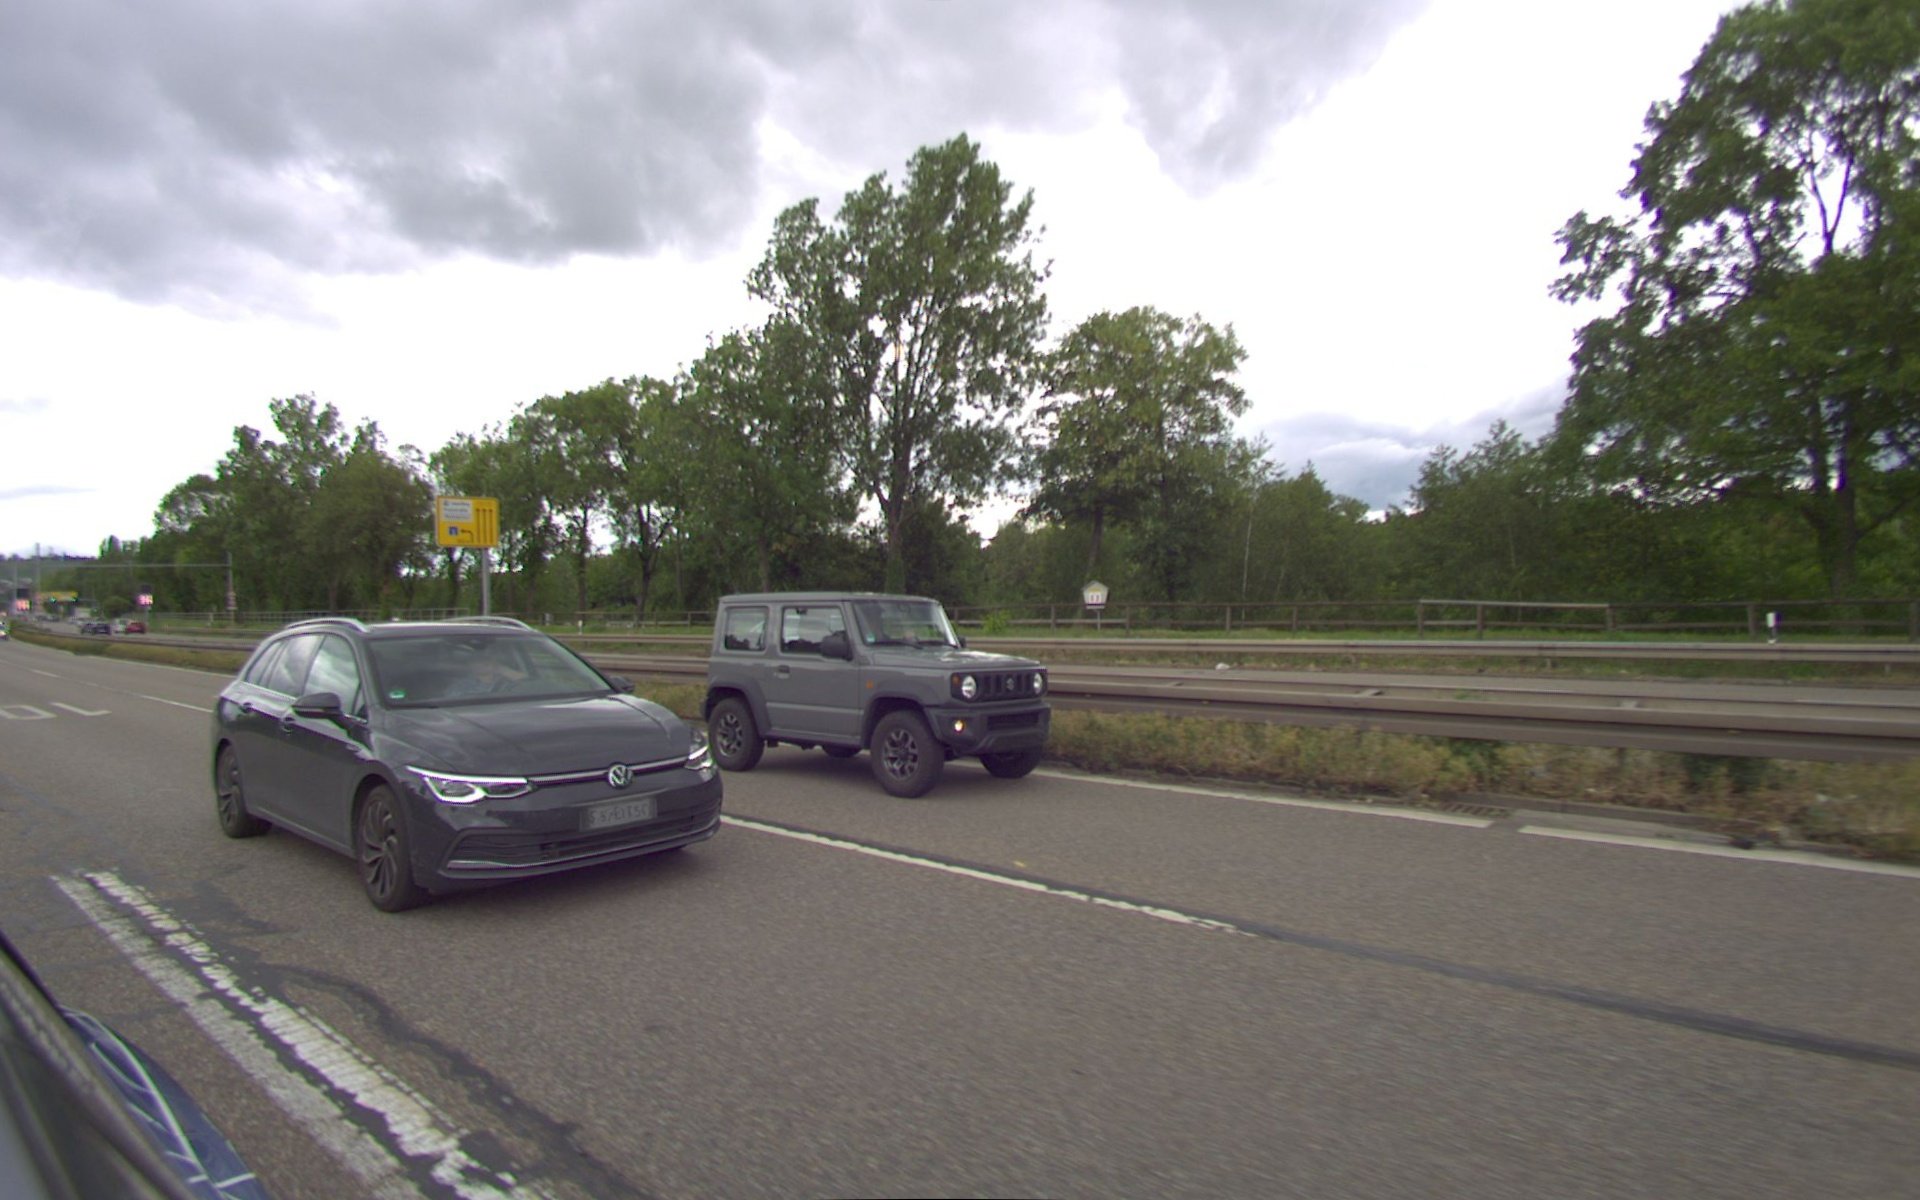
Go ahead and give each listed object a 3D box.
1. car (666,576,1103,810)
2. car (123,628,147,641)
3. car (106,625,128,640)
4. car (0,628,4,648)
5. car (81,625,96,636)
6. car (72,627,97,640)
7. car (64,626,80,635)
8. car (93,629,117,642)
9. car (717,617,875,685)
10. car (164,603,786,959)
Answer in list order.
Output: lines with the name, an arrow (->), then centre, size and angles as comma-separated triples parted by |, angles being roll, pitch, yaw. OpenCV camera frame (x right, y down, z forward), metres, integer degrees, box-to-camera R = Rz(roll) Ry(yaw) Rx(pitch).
car -> -0.835, 0.746, 9.315 | 3.997, 1.699, 1.680 | -2, -3, 40
car -> -97.668, 4.111, 119.814 | 4.381, 1.476, 1.698 | -2, -1, 44
car -> -108.318, 4.175, 130.019 | 4.563, 1.898, 1.593 | -2, -1, 44
car -> -85.446, 3.431, 89.029 | 1.857, 1.738, 4.148 | -2, 0, -45
car -> -139.246, 4.897, 161.701 | 1.706, 1.788, 3.744 | 0, -1, -44
car -> -108.710, 4.132, 125.608 | 5.552, 1.476, 1.840 | -2, -1, 44
car -> -164.988, 5.671, 188.035 | 1.845, 1.687, 4.721 | 0, -2, -45
car -> -96.696, 4.006, 114.420 | 3.912, 1.435, 1.642 | -2, -1, 44
car -> -3.818, 1.135, 23.281 | 3.731, 1.396, 1.597 | -2, -1, 42
car -> -3.416, 0.819, 6.533 | 4.898, 1.434, 1.826 | -2, 0, 41
